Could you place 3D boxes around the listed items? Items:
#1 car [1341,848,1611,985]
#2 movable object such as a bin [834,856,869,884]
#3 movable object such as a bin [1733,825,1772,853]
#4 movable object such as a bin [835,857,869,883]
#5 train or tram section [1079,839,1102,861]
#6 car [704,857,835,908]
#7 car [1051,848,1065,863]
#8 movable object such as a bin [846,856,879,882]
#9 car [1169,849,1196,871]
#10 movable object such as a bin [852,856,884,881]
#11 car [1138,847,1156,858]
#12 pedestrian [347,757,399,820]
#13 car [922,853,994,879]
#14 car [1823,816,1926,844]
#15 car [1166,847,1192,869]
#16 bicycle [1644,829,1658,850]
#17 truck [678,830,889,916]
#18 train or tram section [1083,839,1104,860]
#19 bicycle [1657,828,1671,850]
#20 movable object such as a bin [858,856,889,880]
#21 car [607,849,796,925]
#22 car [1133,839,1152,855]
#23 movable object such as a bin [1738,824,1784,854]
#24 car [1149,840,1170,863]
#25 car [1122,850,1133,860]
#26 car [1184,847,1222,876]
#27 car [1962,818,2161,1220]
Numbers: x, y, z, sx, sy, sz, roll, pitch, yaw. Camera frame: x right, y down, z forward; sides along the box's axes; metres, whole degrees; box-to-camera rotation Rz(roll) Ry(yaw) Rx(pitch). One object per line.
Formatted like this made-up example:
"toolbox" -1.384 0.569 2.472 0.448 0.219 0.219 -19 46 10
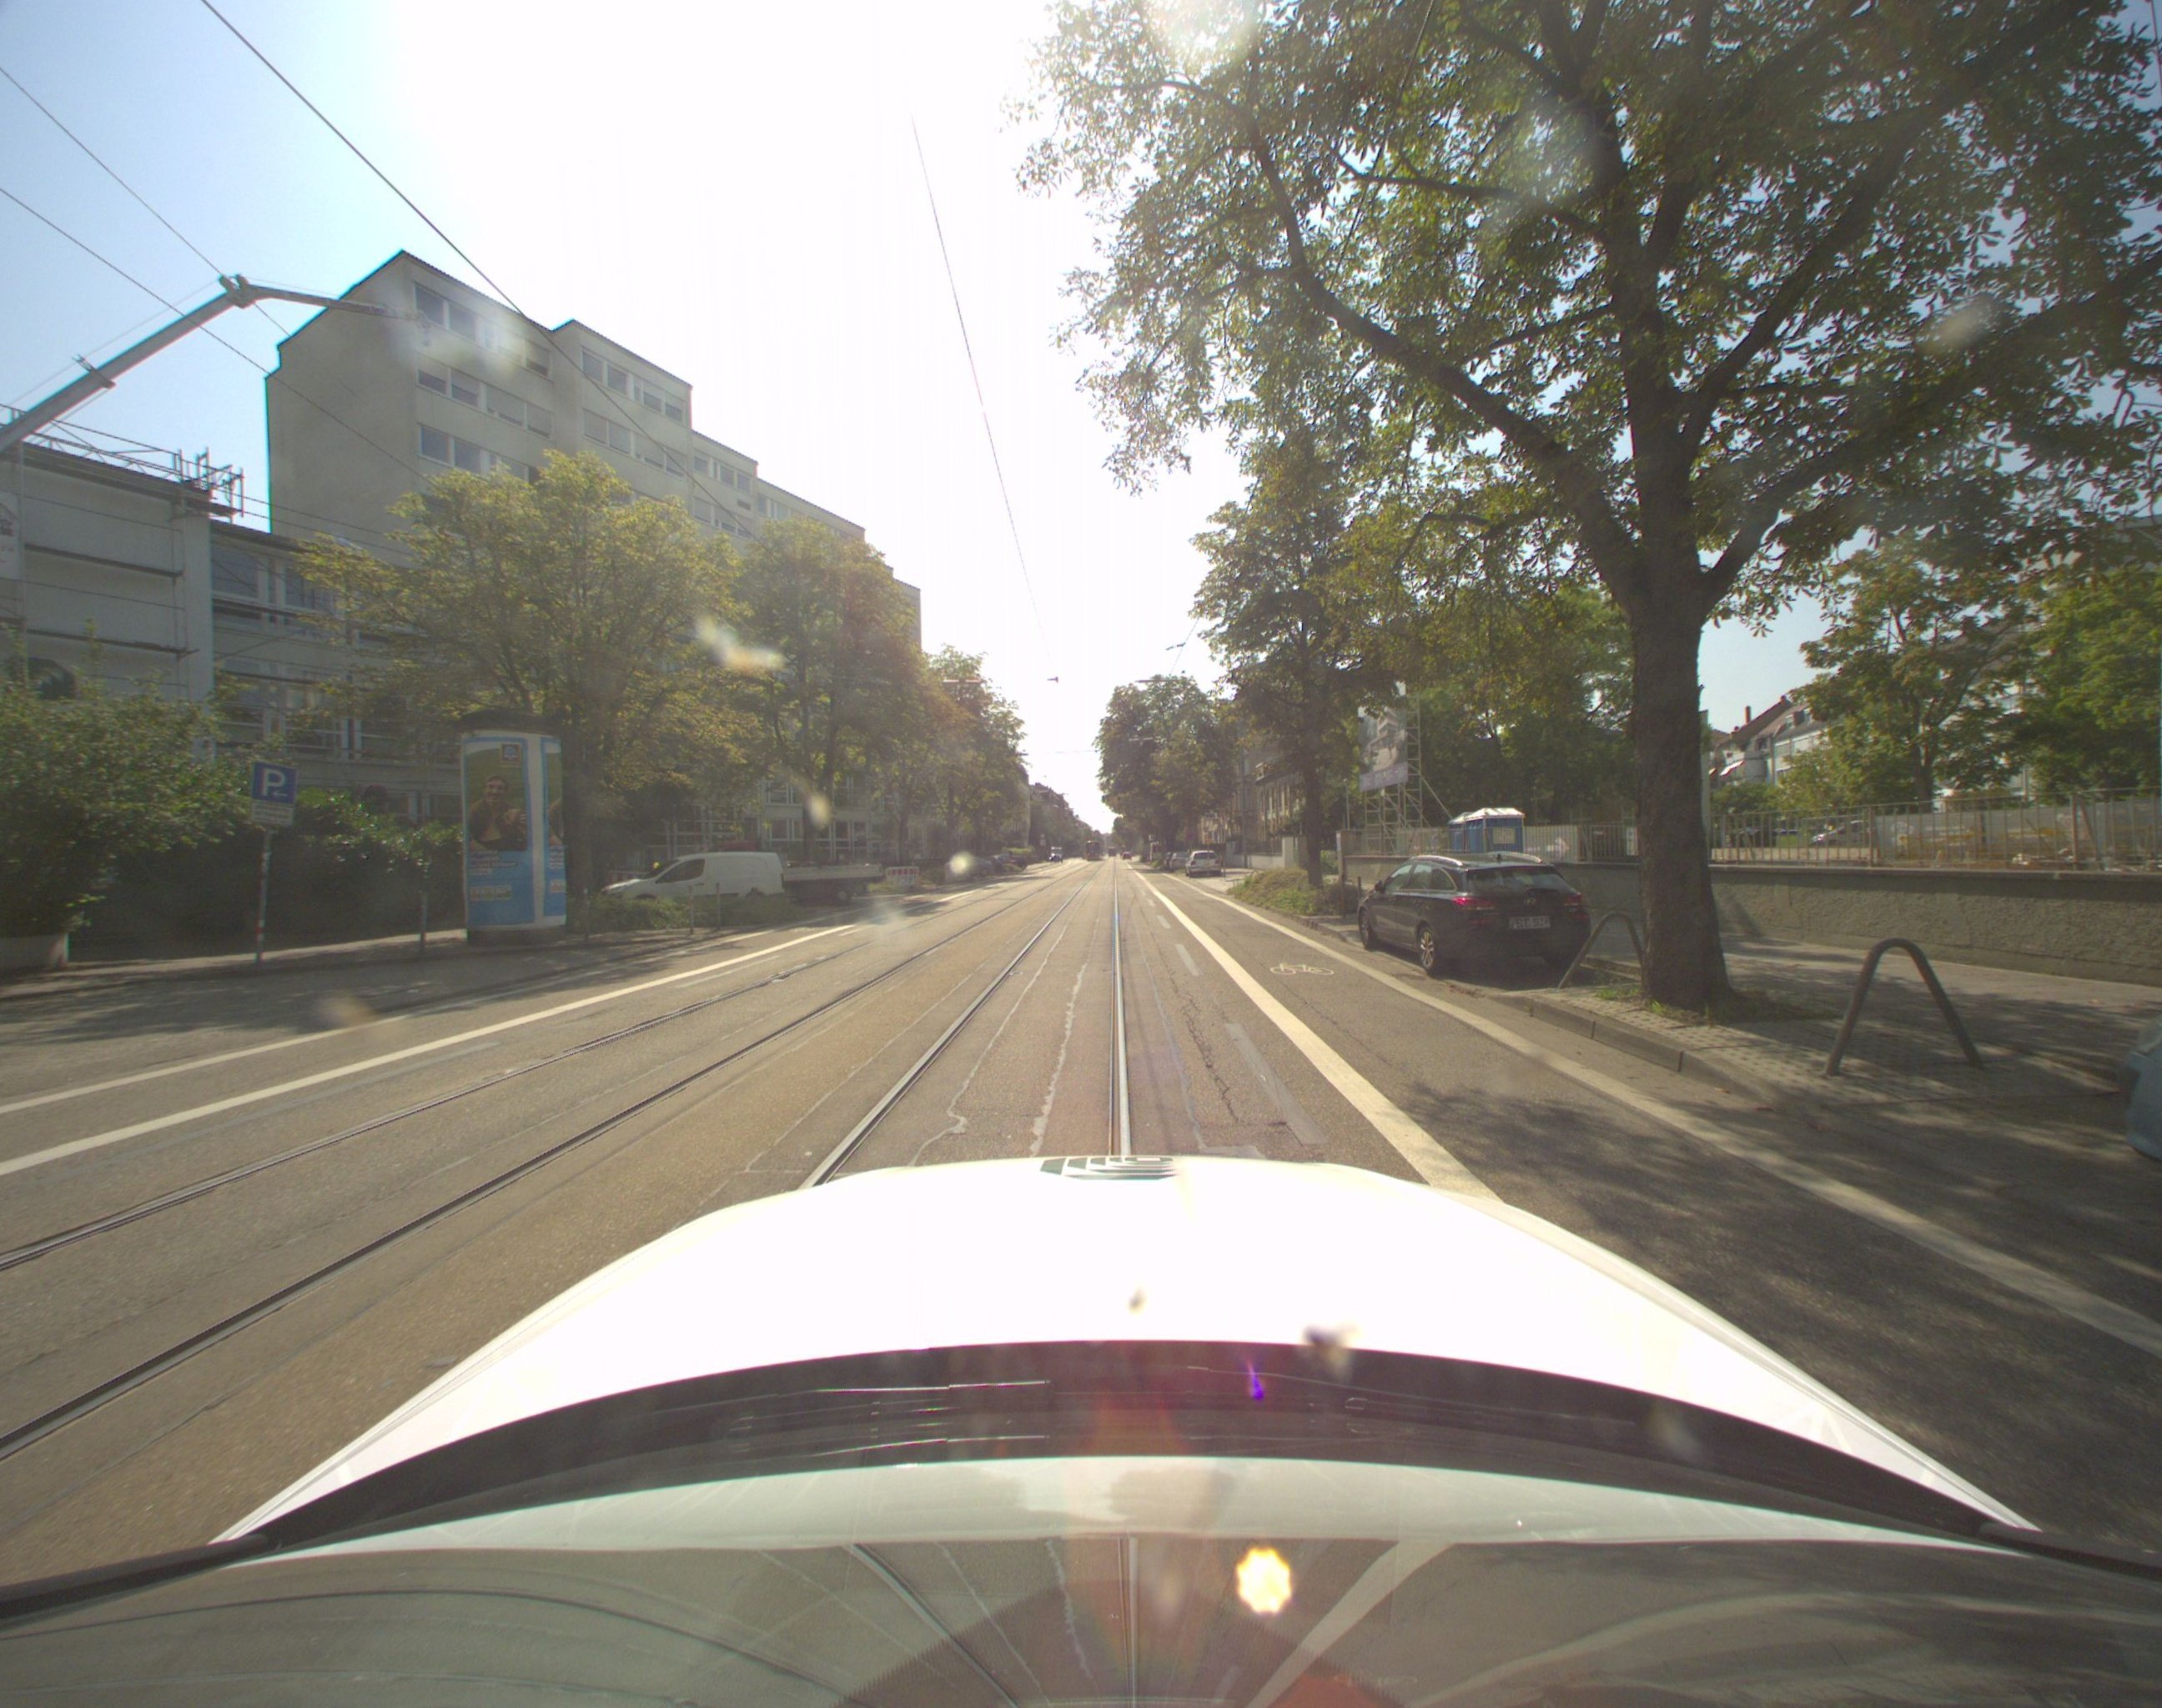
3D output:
"car" 5.181 0.686 11.489 1.667 1.458 4.667 -3 1 2
"movable object such as a bin" -13.872 0.965 49.315 1.677 1.559 1.354 -2 0 1
"movable object such as a bin" 35.227 -0.797 42.725 1.235 1.431 1.339 -1 1 23
"movable object such as a bin" -14.262 0.986 50.761 1.677 1.559 1.354 -2 0 1
"train or tram section" 1.824 -0.732 145.792 3.482 3.704 12.424 -1 1 3
"car" -10.828 0.956 28.465 3.881 1.508 1.700 -2 0 -41
"car" -3.864 0.257 136.475 2.236 2.441 3.998 -1 0 -1
"movable object such as a bin" -14.097 0.966 52.508 1.677 1.559 1.354 -2 0 1
"car" 7.245 0.397 58.446 1.634 1.511 3.643 -1 0 3
"movable object such as a bin" -14.113 0.954 54.067 1.677 1.559 1.354 -2 0 1
"car" 8.603 -0.193 106.500 1.987 1.398 3.999 -2 1 0
"pedestrian" -20.230 -1.851 23.279 0.743 1.726 0.855 -1 0 19
"car" -8.334 0.790 55.324 4.716 1.451 1.656 -4 2 -45
"car" 48.913 -1.449 50.315 4.248 1.594 1.811 -1 0 31
"car" 7.699 0.306 64.368 1.786 1.577 4.005 -2 1 4
"bicycle" 35.658 -0.921 50.976 0.601 1.302 2.187 -1 0 33
"truck" -9.514 0.511 26.347 5.997 2.434 2.127 -2 1 -37
"train or tram section" 2.523 -0.944 158.189 3.482 3.704 12.424 -1 1 3
"bicycle" 36.179 -0.912 50.535 0.601 1.302 2.187 -1 0 33
"movable object such as a bin" -14.129 0.958 55.544 1.677 1.559 1.354 -2 0 1
"car" -10.249 0.814 22.189 4.309 1.771 1.804 -2 1 -41
"car" 8.539 -0.986 113.379 1.989 2.233 3.996 -2 1 -3
"movable object such as a bin" 34.458 -0.766 41.316 1.321 1.493 1.379 -1 1 15
"car" 8.269 -0.287 86.202 1.985 2.365 4.003 -1 0 3
"car" 8.769 0.112 153.080 1.985 1.801 4.003 -1 0 3
"car" 6.653 0.400 44.765 1.783 1.446 3.738 -3 0 5
"car" 5.034 0.627 1.815 1.667 1.579 4.174 -3 0 2
